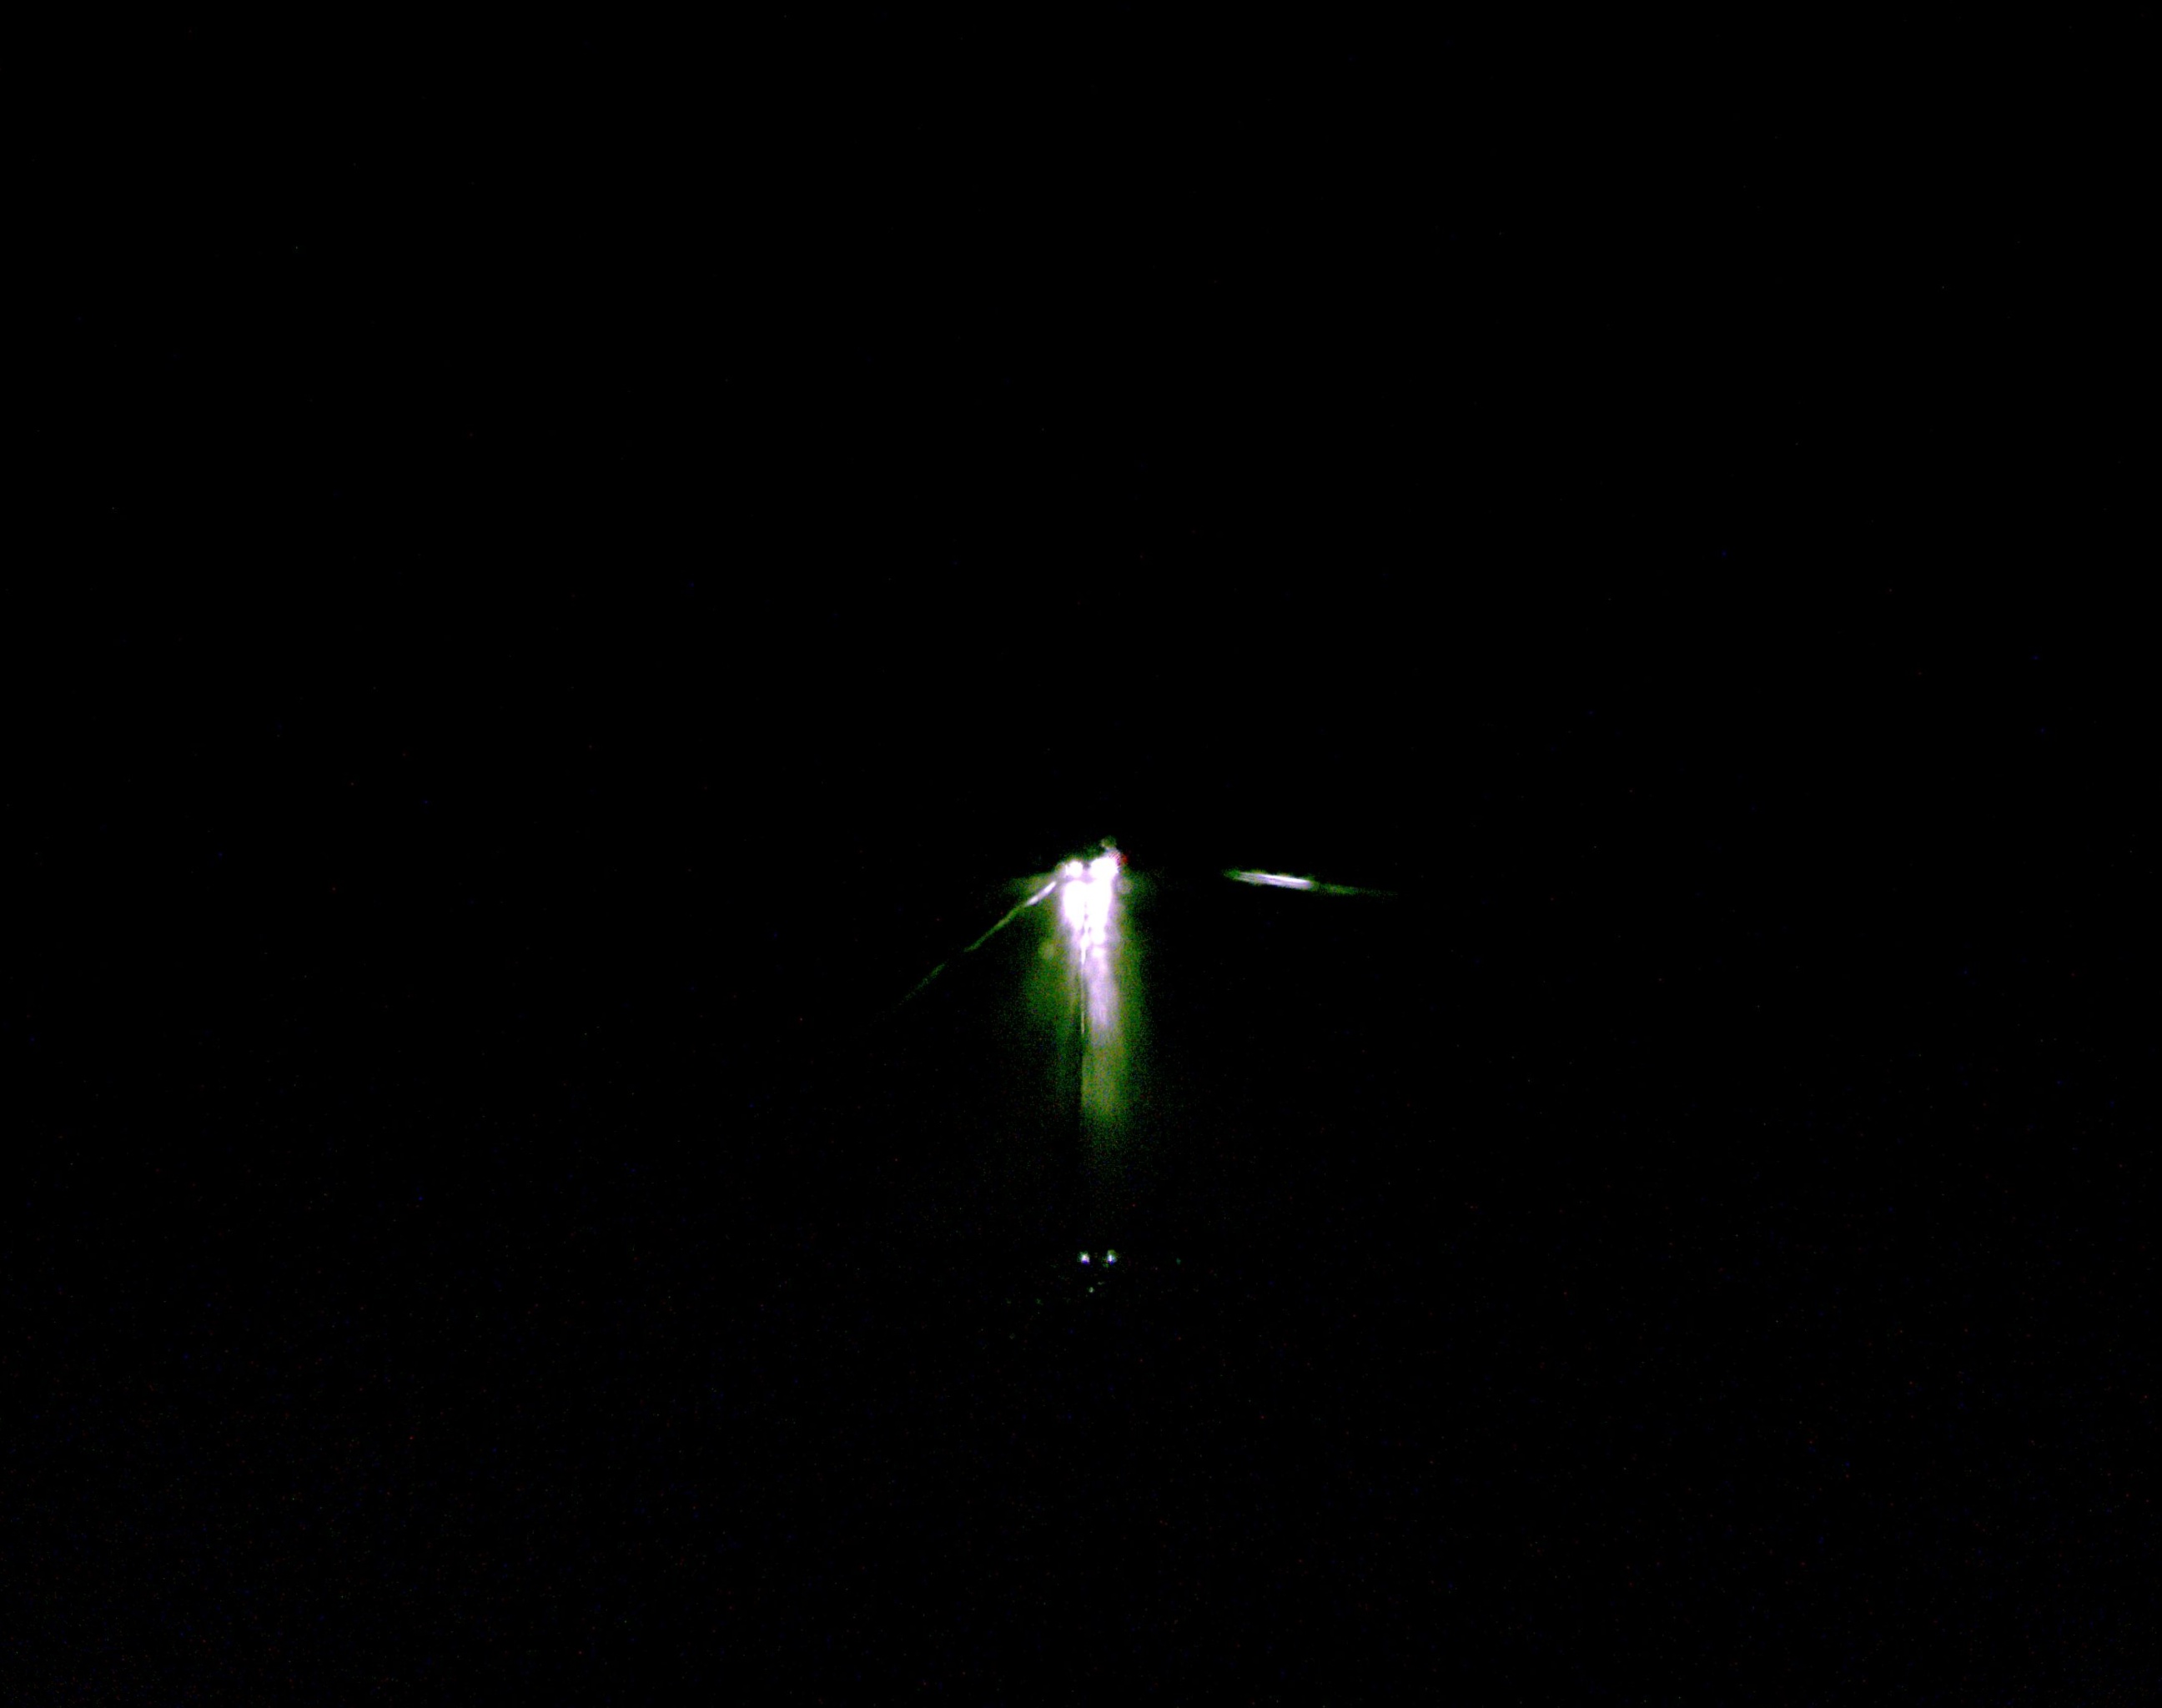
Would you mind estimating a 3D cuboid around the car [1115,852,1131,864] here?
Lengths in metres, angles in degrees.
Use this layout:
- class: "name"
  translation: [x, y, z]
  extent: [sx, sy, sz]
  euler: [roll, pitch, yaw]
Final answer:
- class: "car"
  translation: [5.513, 0.554, 99.735]
  extent: [1.804, 1.570, 4.457]
  euler: [-1, -1, 0]

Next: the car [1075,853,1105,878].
- class: "car"
  translation: [0.611, 0.789, 49.237]
  extent: [1.901, 1.551, 4.002]
  euler: [0, -2, 1]
